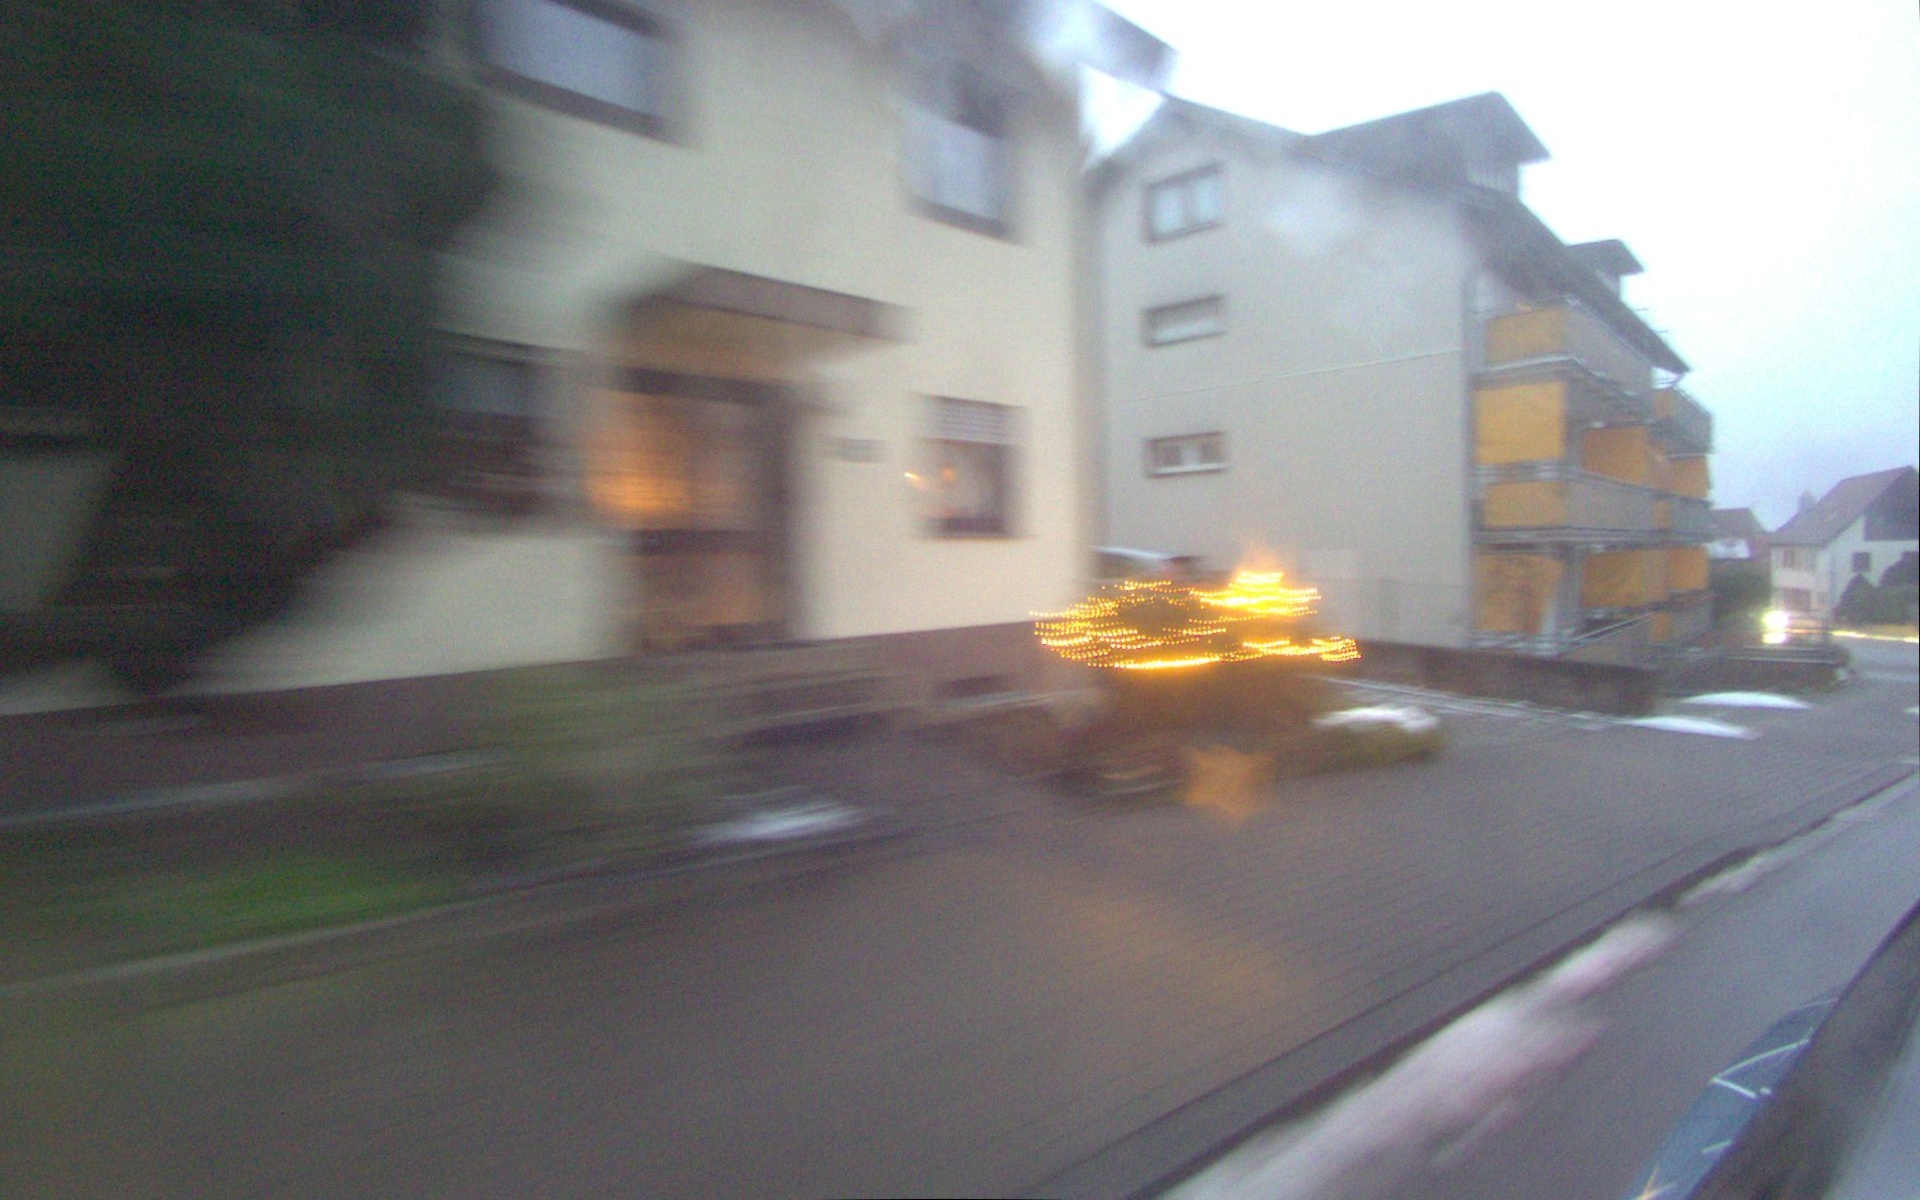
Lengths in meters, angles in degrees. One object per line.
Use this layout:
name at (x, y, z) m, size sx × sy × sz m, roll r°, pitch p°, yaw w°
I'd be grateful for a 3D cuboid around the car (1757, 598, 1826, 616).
car at (69.063, 0.562, 84.157) m, size 1.960 × 1.443 × 4.241 m, roll -2°, pitch 0°, yaw -6°

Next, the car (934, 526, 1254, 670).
car at (1.914, -0.118, 15.161) m, size 4.247 × 1.668 × 2.035 m, roll 7°, pitch 4°, yaw 39°
